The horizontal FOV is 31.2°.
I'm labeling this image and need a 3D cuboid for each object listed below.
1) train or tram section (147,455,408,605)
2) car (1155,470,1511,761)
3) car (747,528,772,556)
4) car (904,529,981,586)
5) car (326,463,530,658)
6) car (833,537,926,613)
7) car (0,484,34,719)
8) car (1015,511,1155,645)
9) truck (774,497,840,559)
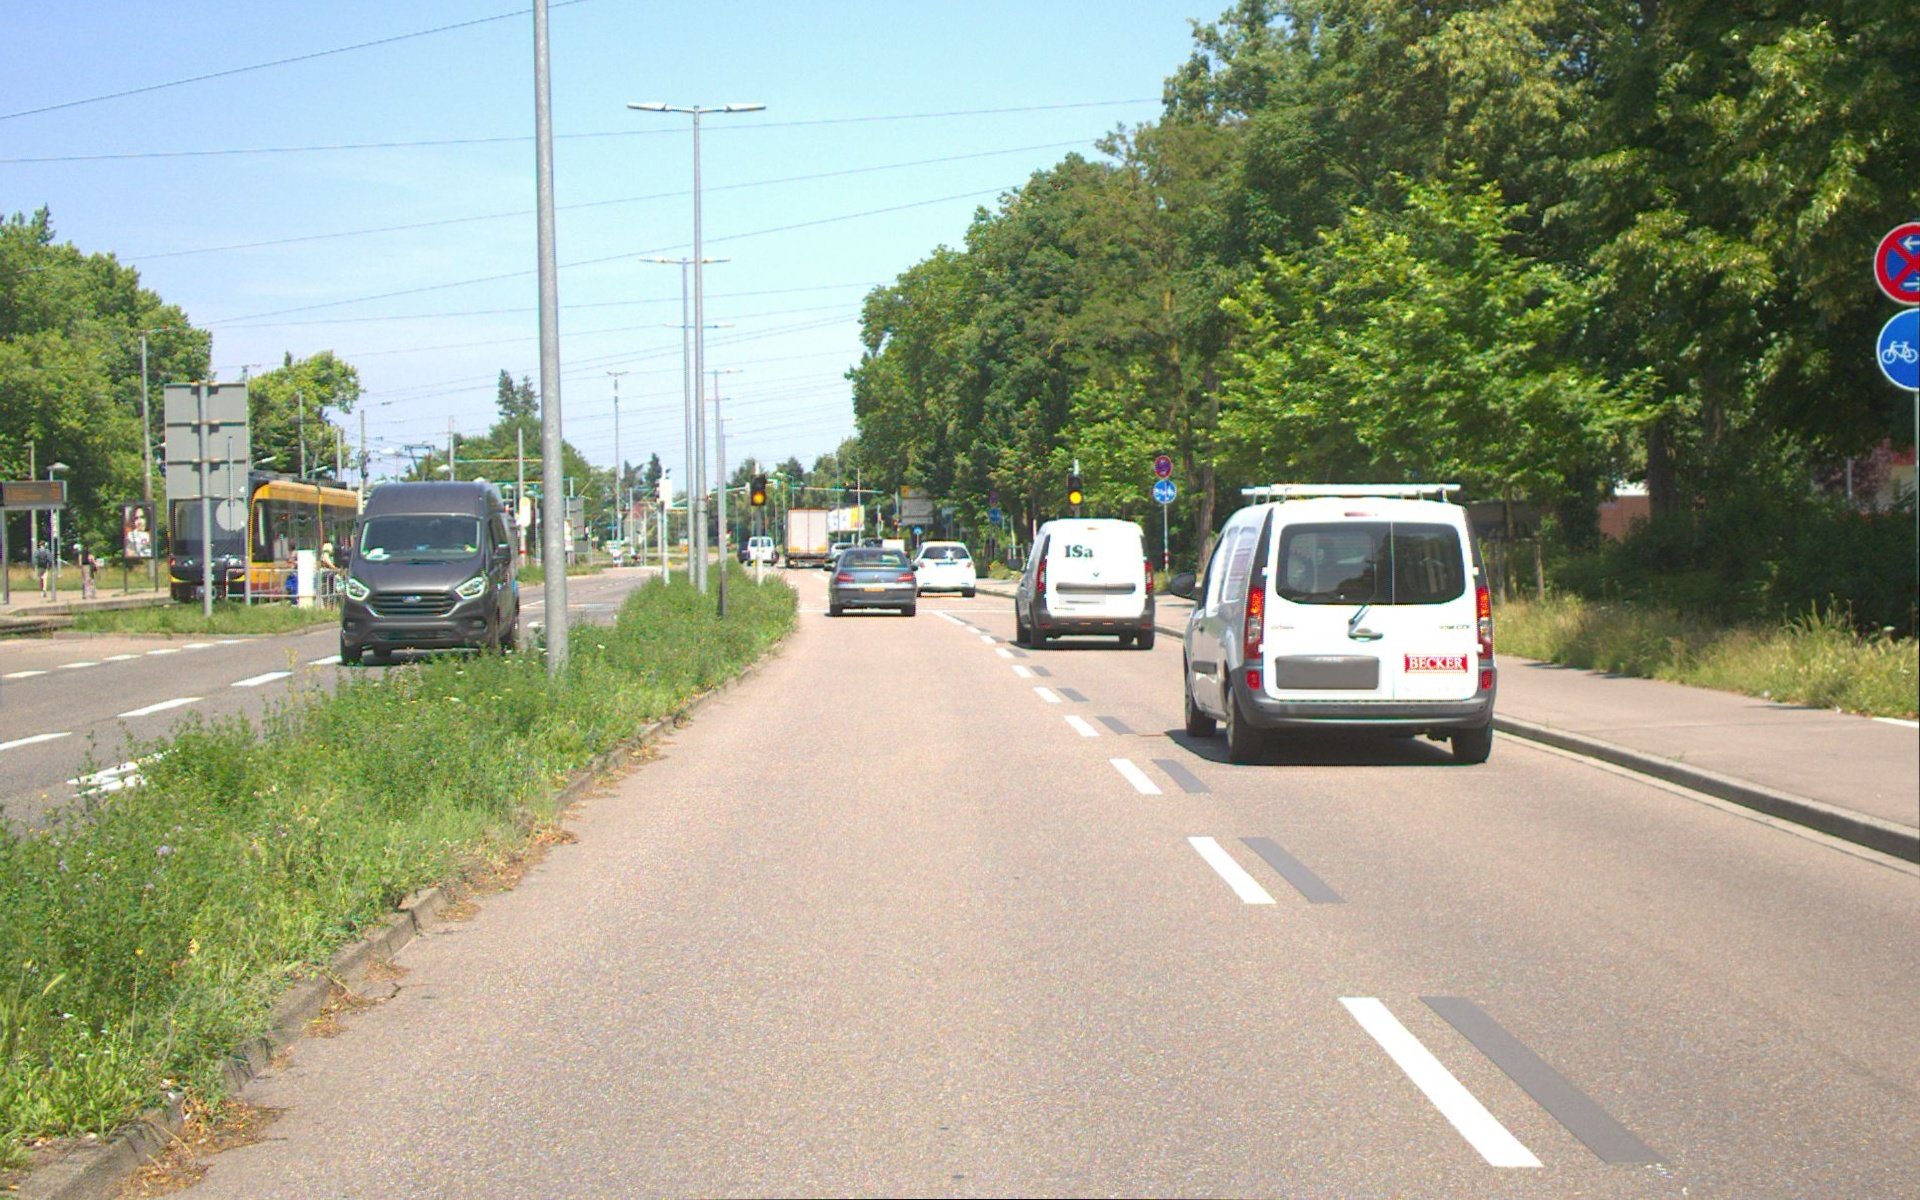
[{"bbox_3d":[-19.785,-2.016,103.189,2.787,3.655,37.524,0,1,-4],"label":"train or tram section"},{"bbox_3d":[2.541,0.064,24.473,1.824,1.875,4.456,0,1,-3],"label":"car"},{"bbox_3d":[-13.793,-3.973,236.160,1.687,1.891,3.871,-1,1,-4],"label":"car"},{"bbox_3d":[-0.499,-1.174,94.513,1.803,1.534,4.001,0,1,-5],"label":"car"},{"bbox_3d":[-6.922,-0.549,45.245,1.993,2.358,5.373,-2,1,-2],"label":"car"},{"bbox_3d":[-1.669,-0.523,69.984,1.801,1.481,4.001,0,1,-3],"label":"car"},{"bbox_3d":[-9.154,0.084,27.954,1.993,2.006,5.031,-2,2,-2],"label":"car"},{"bbox_3d":[1.728,-0.350,48.597,1.728,1.807,4.000,1,1,-1],"label":"car"},{"bbox_3d":[-9.862,-4.583,219.989,3.898,3.800,10.794,-1,1,-4],"label":"truck"}]
